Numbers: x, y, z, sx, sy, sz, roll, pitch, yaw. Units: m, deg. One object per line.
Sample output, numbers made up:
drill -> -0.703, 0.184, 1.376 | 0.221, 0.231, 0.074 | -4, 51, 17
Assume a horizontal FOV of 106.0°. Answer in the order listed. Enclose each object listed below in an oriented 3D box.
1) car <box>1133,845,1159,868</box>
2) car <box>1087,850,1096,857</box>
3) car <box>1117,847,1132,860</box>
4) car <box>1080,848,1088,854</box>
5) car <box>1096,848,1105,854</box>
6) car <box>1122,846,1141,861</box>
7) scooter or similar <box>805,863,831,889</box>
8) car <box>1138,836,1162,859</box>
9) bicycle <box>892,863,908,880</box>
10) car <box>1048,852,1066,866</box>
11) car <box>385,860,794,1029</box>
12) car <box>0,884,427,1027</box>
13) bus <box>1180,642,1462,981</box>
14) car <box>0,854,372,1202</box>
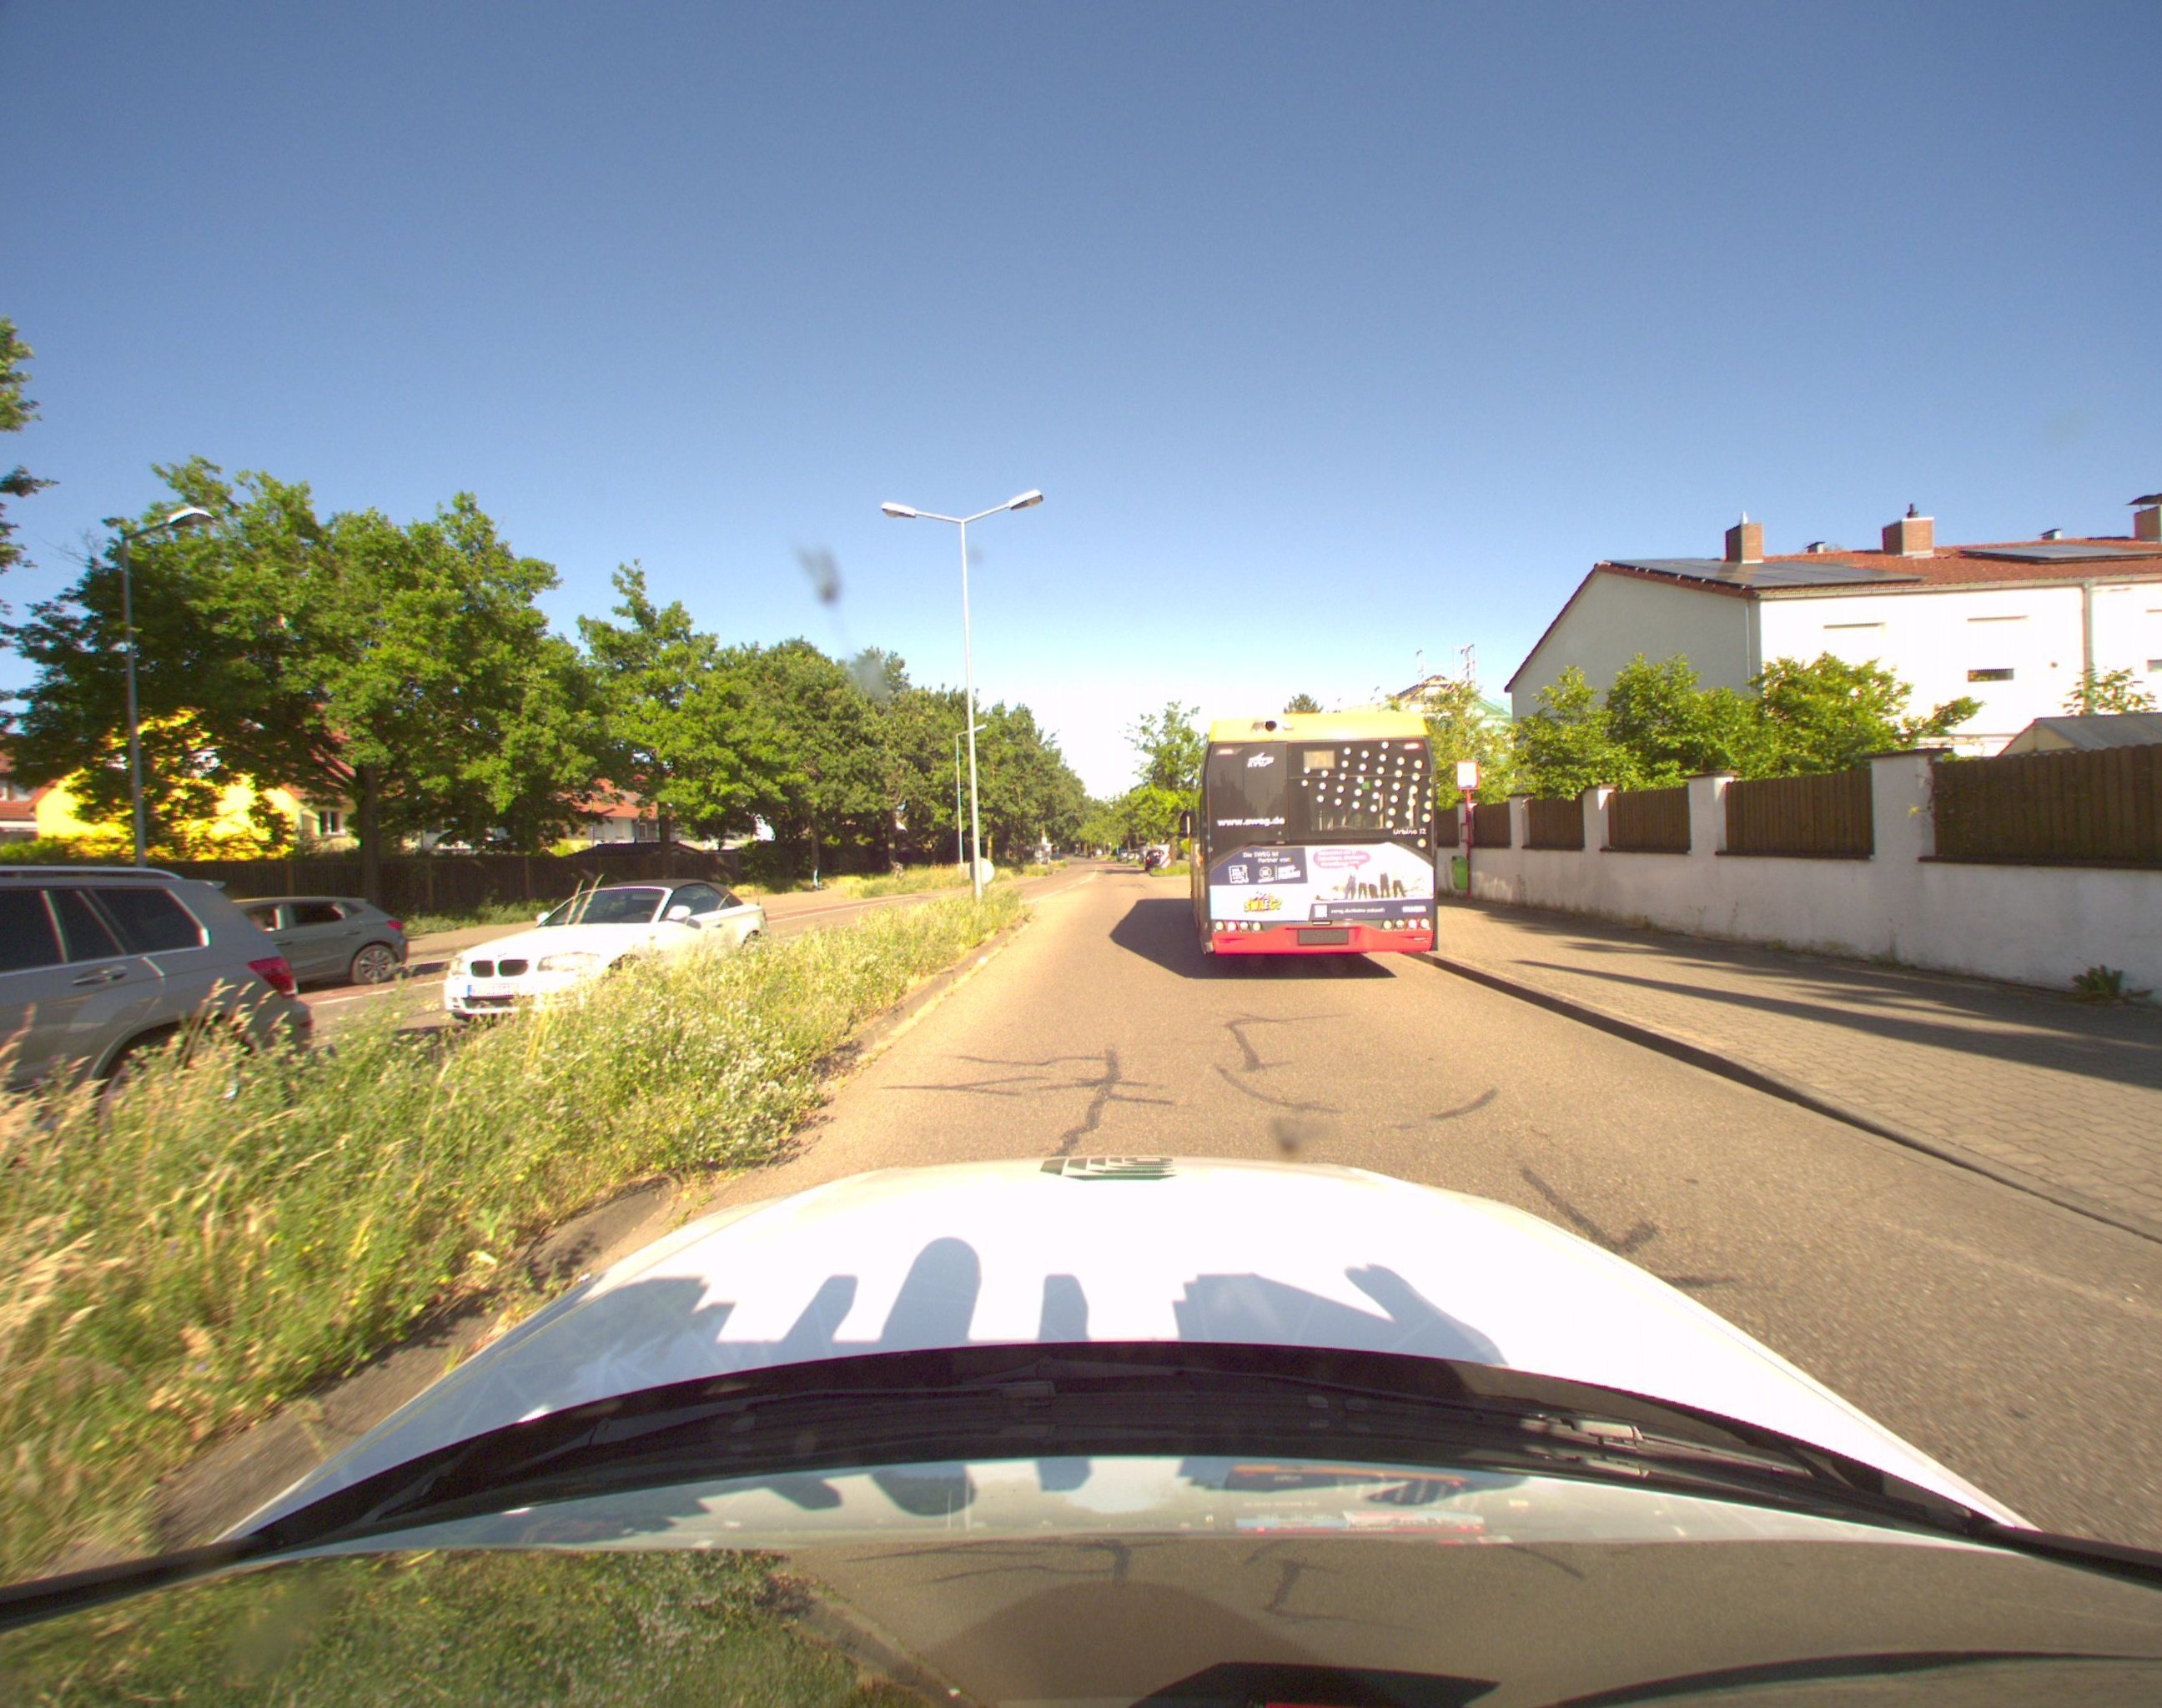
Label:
car -> 4.886, 0.206, 61.651 | 1.666, 1.578, 3.753 | -4, 0, 2
car -> 2.370, -0.088, 188.804 | 1.927, 1.542, 3.999 | -2, 0, 0
car -> 6.366, -0.097, 119.778 | 1.927, 1.742, 3.999 | -2, 0, 0
car -> 0.657, -0.737, 213.748 | 1.928, 1.454, 3.998 | -2, 0, -2
car -> 5.149, -0.799, 215.038 | 1.928, 1.454, 3.998 | -2, 0, -2
car -> 6.048, -0.052, 97.190 | 1.930, 1.704, 3.999 | -2, 0, 0
scooter or similar -> -13.493, 1.118, 41.839 | 0.534, 1.218, 1.420 | 0, 2, 18
car -> 6.508, -0.605, 77.094 | 1.830, 1.971, 4.758 | -2, 0, 0
bicycle -> -11.765, 1.147, 52.911 | 0.503, 1.053, 1.881 | -2, 0, 3
car -> -2.728, 0.505, 92.420 | 1.931, 1.479, 3.997 | -2, 0, -2
car -> -5.513, 0.894, 10.016 | 1.984, 1.450, 4.406 | -3, 1, 5
car -> -12.083, 1.294, 11.612 | 1.697, 1.430, 4.016 | -4, 0, 14
bus -> 3.274, -0.415, 14.842 | 2.743, 3.458, 12.421 | -3, 0, 7
car -> -6.174, 0.887, 3.476 | 1.984, 1.616, 4.538 | -3, 1, 5
